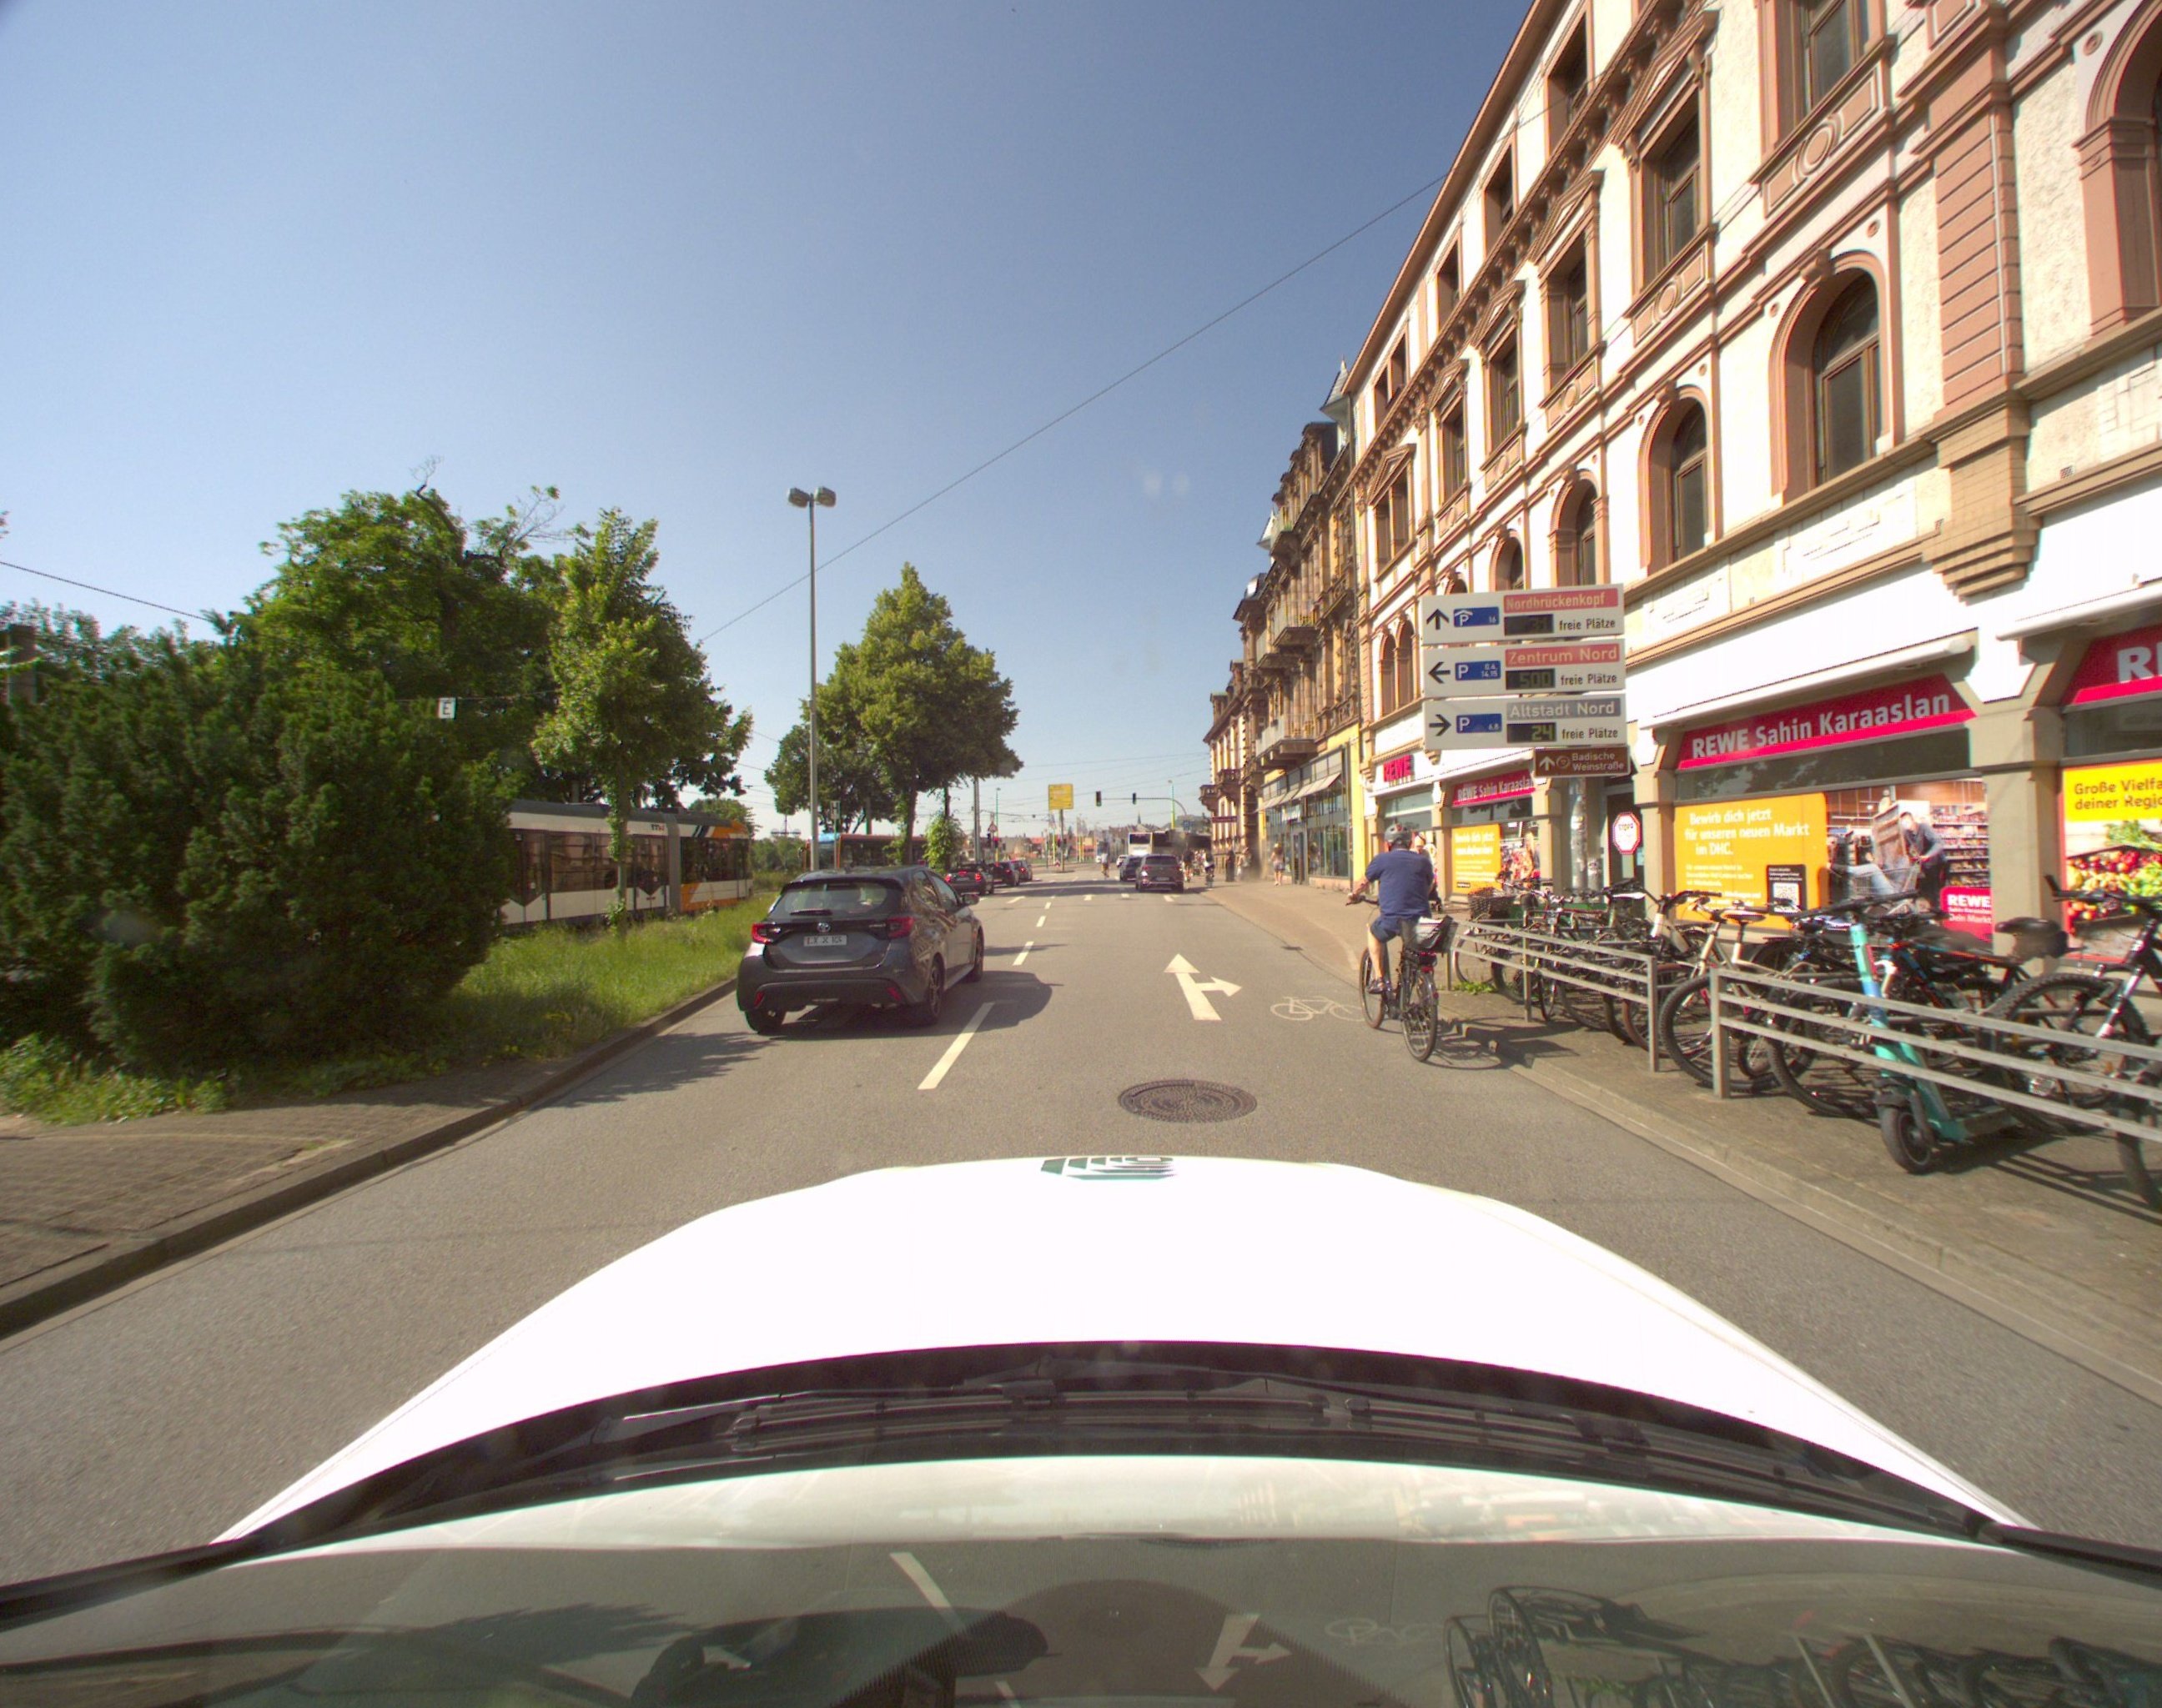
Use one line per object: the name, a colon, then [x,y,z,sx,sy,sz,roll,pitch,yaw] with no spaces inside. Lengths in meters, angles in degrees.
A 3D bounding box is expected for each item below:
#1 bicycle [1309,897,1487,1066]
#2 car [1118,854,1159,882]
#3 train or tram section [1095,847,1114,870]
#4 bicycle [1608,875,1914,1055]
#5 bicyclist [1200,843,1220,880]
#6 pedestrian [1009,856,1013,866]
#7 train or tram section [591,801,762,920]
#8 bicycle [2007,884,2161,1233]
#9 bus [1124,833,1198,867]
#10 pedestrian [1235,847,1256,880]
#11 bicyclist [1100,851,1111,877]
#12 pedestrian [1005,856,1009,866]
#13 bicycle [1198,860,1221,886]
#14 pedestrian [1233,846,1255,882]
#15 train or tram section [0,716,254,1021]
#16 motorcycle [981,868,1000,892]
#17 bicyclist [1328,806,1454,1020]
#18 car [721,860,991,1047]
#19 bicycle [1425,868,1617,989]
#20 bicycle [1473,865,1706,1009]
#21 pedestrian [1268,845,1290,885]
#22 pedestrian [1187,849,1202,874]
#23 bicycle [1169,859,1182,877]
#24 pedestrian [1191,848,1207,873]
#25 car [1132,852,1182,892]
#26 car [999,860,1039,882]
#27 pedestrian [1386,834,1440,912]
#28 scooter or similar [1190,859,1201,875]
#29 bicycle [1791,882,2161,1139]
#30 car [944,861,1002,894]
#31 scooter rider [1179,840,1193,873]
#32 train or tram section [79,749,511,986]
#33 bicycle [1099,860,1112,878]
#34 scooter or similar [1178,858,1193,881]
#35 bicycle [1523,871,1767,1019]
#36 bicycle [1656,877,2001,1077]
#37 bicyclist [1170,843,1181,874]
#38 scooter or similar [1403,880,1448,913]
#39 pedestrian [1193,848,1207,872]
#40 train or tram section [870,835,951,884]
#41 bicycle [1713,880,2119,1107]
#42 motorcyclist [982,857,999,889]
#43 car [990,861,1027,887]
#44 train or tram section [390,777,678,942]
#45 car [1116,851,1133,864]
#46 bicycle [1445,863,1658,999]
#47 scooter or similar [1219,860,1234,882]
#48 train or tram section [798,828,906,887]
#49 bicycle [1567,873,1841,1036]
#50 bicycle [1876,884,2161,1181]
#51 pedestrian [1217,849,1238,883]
bicycle: [2.481,0.942,6.647,0.731,1.093,1.911,0,-1,1]
car: [3.264,0.790,46.948,1.988,1.493,3.998,0,-1,-1]
train or tram section: [4.095,0.788,138.469,2.810,3.777,8.235,0,0,4]
bicycle: [4.653,0.741,5.633,1.686,1.179,0.460,0,-1,2]
bicyclist: [5.581,0.324,35.268,0.686,1.577,1.050,0,-1,1]
pedestrian: [-10.306,1.060,120.158,0.556,1.416,0.636,0,-1,0]
train or tram section: [-13.456,0.239,27.713,2.604,3.581,6.019,0,-1,2]
bicycle: [4.540,0.704,2.994,1.686,1.179,0.452,0,-1,2]
bus: [7.167,-0.241,71.499,2.940,2.777,8.695,0,-1,32]
pedestrian: [8.236,0.465,40.849,0.859,1.640,0.875,0,-1,0]
bicyclist: [1.509,0.596,50.417,0.686,1.577,1.049,0,-1,0]
pedestrian: [-10.971,1.055,120.168,0.556,1.416,0.636,0,-1,0]
bicycle: [5.583,0.806,35.393,0.731,1.093,1.898,0,-1,1]
pedestrian: [7.670,0.468,38.357,0.859,1.640,0.875,-2,-1,0]
train or tram section: [-14.003,0.157,9.326,2.604,3.581,6.105,0,-1,2]
motorcycle: [-4.443,1.266,40.075,0.696,1.064,1.909,-3,0,-1]
bicyclist: [2.487,0.452,6.620,0.686,1.616,0.918,0,-1,1]
car: [-2.096,0.855,8.790,1.772,1.475,3.998,-3,-1,-1]
bicycle: [4.655,0.776,8.690,1.687,1.178,0.609,-2,0,2]
bicycle: [4.575,0.731,7.405,1.687,1.178,0.609,-2,0,2]
pedestrian: [8.229,0.451,33.863,0.652,1.621,0.815,-2,0,0]
pedestrian: [7.443,0.502,53.469,0.859,1.640,0.875,0,-1,0]
bicycle: [6.025,0.902,51.884,0.730,1.093,1.900,0,-1,5]
pedestrian: [7.903,0.425,54.589,0.859,1.640,0.875,-2,0,0]
car: [3.072,0.721,33.453,1.866,1.493,4.003,0,-1,3]
car: [-3.934,1.070,52.278,2.029,1.332,4.003,-2,0,3]
pedestrian: [7.401,0.420,18.190,0.753,1.656,0.837,-5,-2,1]
scooter or similar: [7.405,0.834,52.735,0.598,1.047,0.799,0,-1,0]
bicycle: [4.568,0.736,4.017,1.686,1.179,0.457,0,-1,2]
car: [-4.616,1.004,35.379,1.808,1.332,4.003,0,-1,3]
scooter rider: [5.478,0.150,42.669,0.685,1.729,0.779,0,-1,4]
train or tram section: [-13.829,0.233,15.077,2.604,3.581,5.358,0,-1,2]
bicycle: [1.509,0.930,50.464,0.731,1.093,1.898,0,-1,1]
scooter or similar: [5.454,0.826,42.620,0.685,1.167,1.465,0,-1,5]
bicycle: [4.673,0.739,6.806,1.687,1.179,0.470,0,-1,1]
bicycle: [4.623,0.740,5.098,1.686,1.179,0.459,0,-1,2]
bicyclist: [6.016,0.273,51.835,0.685,1.962,0.779,0,-1,4]
scooter or similar: [7.454,0.917,17.653,0.688,0.650,0.565,-5,-1,1]
pedestrian: [8.390,0.441,57.584,0.859,1.640,0.875,0,-1,0]
train or tram section: [-13.372,0.448,64.679,2.802,3.581,8.257,-2,-1,14]
bicycle: [4.605,0.744,4.563,1.686,1.179,0.514,0,-1,2]
motorcyclist: [-4.465,0.942,40.003,0.687,1.556,0.717,-3,-2,-1]
car: [-3.909,1.051,44.464,1.445,1.301,4.003,-2,0,3]
train or tram section: [-13.641,0.153,21.217,2.603,3.581,6.900,0,-1,2]
car: [5.033,0.409,94.648,1.851,1.507,4.003,0,-1,3]
bicycle: [4.610,0.738,8.059,1.687,1.178,0.609,-4,0,2]
scooter or similar: [7.218,0.831,40.410,0.598,1.047,0.799,0,-1,0]
train or tram section: [-15.354,0.315,55.698,2.804,3.581,10.062,-2,-1,11]
bicycle: [4.684,0.740,6.183,1.687,1.179,0.470,0,-1,1]
bicycle: [4.523,0.725,3.509,1.686,1.179,0.463,0,-1,2]
pedestrian: [7.178,0.579,39.867,0.859,1.640,0.875,0,-1,0]
